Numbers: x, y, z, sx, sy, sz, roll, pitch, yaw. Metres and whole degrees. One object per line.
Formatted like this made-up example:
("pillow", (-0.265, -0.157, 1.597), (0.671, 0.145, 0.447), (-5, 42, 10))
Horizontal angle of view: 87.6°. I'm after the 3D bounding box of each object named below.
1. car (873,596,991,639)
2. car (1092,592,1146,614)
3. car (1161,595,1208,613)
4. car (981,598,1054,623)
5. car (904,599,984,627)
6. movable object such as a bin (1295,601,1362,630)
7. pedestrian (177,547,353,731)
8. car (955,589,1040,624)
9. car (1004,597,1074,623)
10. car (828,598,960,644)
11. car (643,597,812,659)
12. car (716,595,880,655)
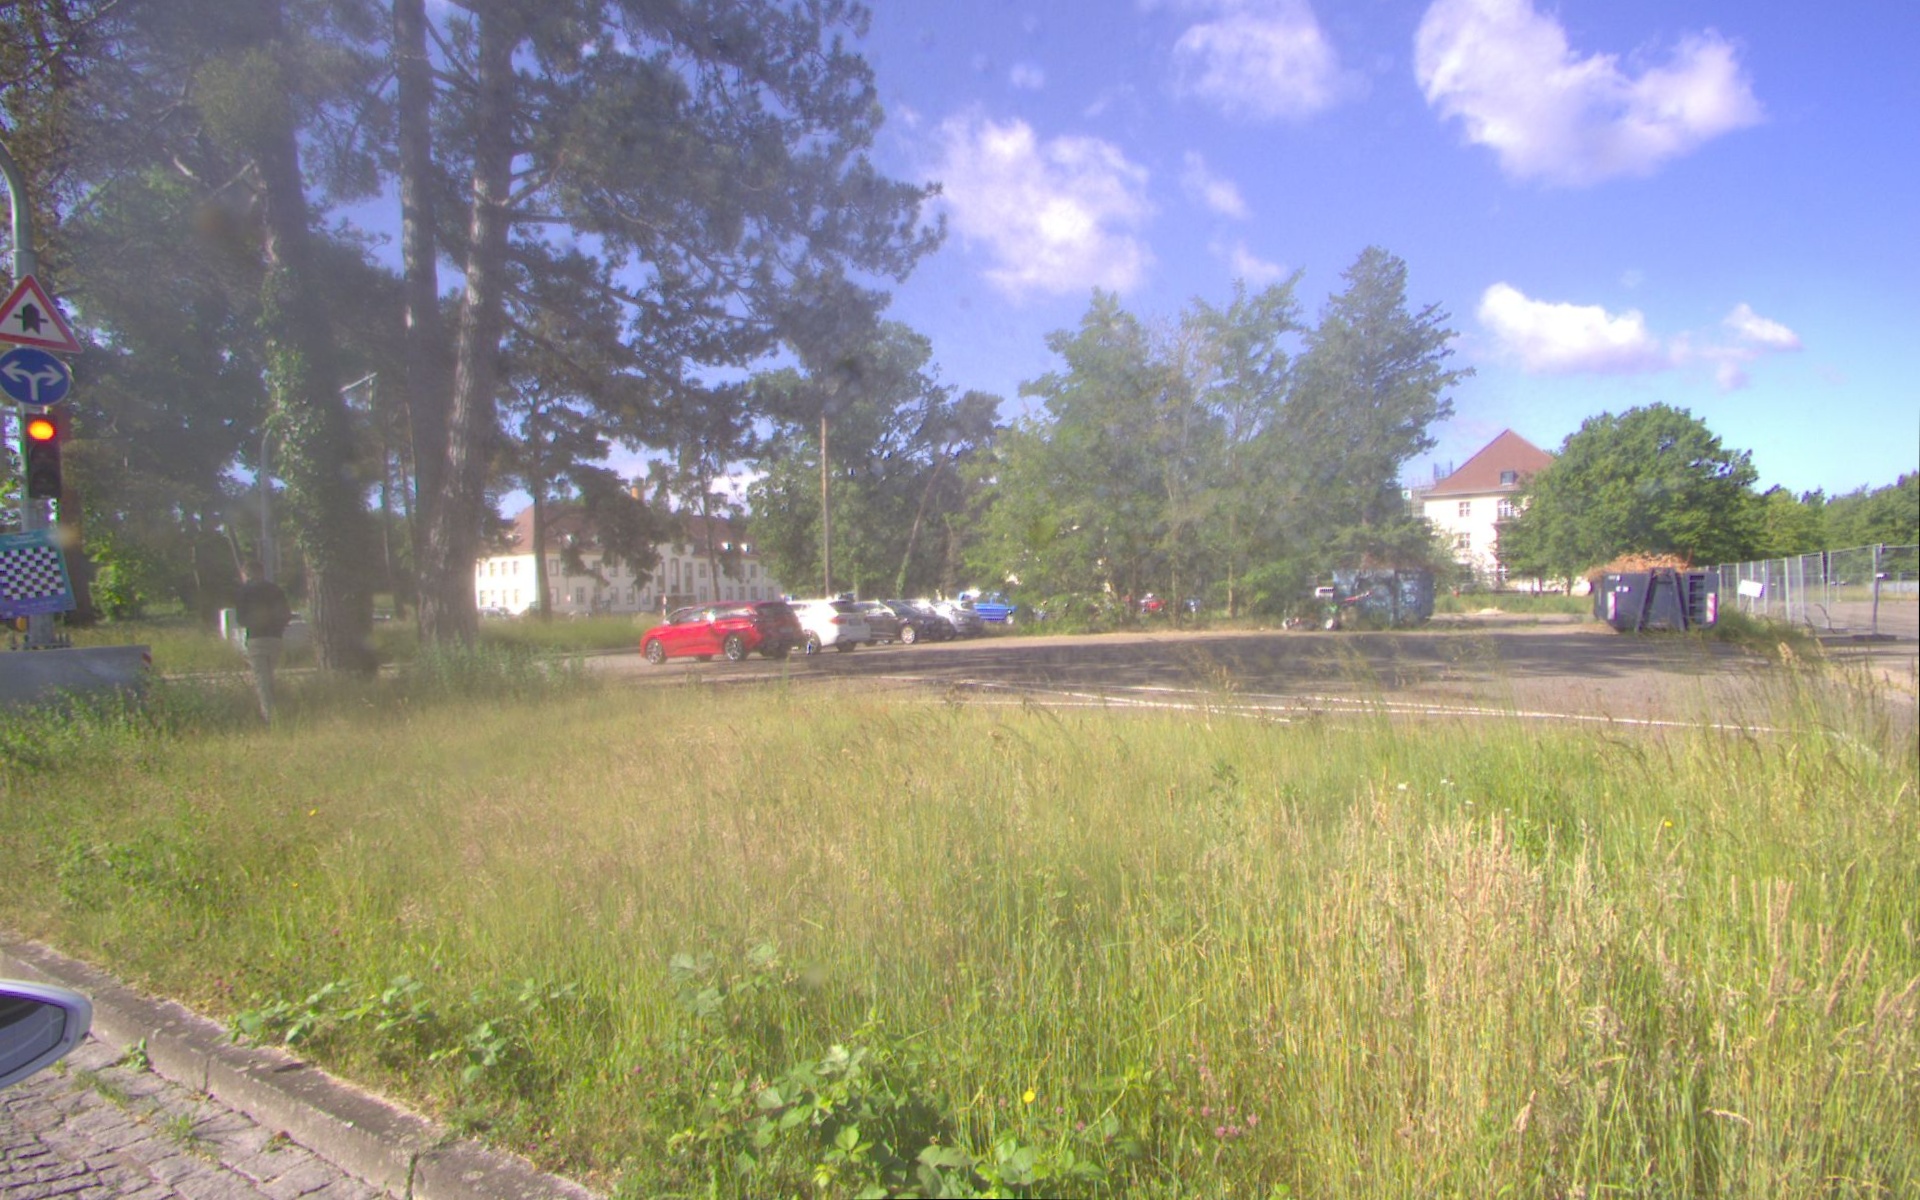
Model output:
("car", (-0.982, 0.607, 34.490), (3.739, 1.390, 1.720), (-1, -1, 34))
("car", (11.997, 0.264, 75.747), (3.681, 1.568, 1.705), (-1, -1, 32))
("car", (19.634, 0.368, 87.563), (3.681, 1.568, 1.705), (-1, -1, 32))
("car", (3.512, 0.648, 61.536), (4.180, 1.443, 1.720), (-1, -1, 32))
("car", (-0.903, 0.711, 55.047), (4.180, 1.487, 1.720), (-1, -1, 32))
("movable object such as a bin", (10.511, 0.447, 28.553), (1.696, 0.762, 1.143), (-1, 0, 25))
("pedestrian", (-7.371, 0.387, 10.654), (1.047, 1.820, 1.166), (-1, 1, 31))
("car", (2.191, 0.399, 59.211), (4.676, 1.973, 1.982), (-1, -1, 32))
("car", (5.055, 0.650, 64.137), (4.180, 1.568, 1.720), (-1, -1, 32))
("car", (-2.132, 0.661, 31.794), (3.987, 1.332, 1.612), (-1, 1, 33))
("car", (-5.752, 0.712, 24.666), (4.071, 1.417, 1.652), (-2, -1, 32))
("car", (-4.421, 0.690, 27.228), (4.179, 1.396, 1.776), (-3, -1, 30))
